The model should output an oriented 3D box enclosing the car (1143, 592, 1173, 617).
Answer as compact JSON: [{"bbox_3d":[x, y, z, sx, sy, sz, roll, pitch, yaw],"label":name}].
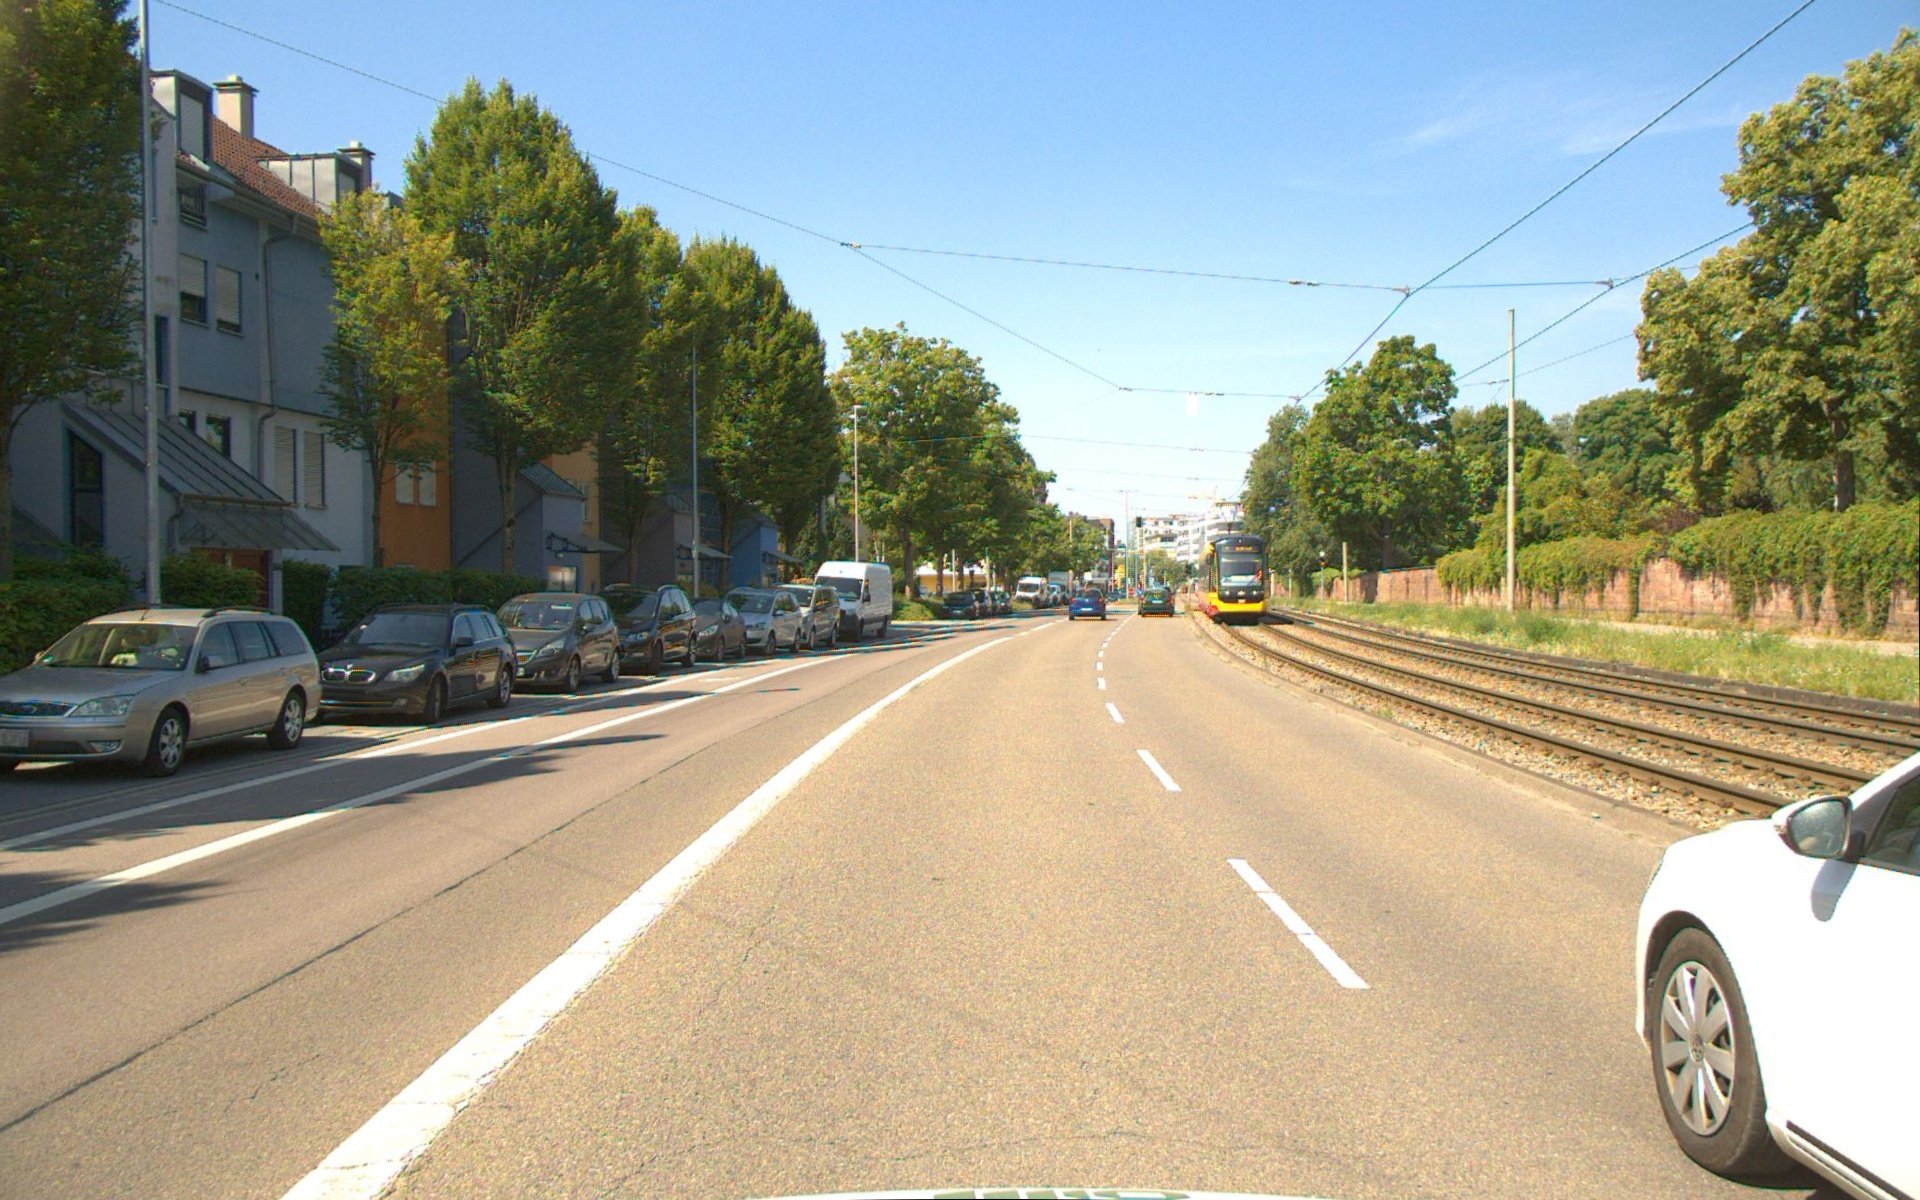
[{"bbox_3d":[12.044,0.249,100.529,1.762,1.486,4.003,-1,0,6],"label":"car"}]

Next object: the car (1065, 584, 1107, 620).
[{"bbox_3d":[5.868,0.078,76.750,1.762,1.533,4.003,0,1,6],"label":"car"}]

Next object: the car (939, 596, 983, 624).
[{"bbox_3d":[0.054,0.536,89.196,1.663,1.442,4.004,-1,0,10],"label":"car"}]

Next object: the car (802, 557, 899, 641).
[{"bbox_3d":[-3.820,-0.049,59.216,1.952,2.761,7.162,2,0,8],"label":"car"}]

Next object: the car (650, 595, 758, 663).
[{"bbox_3d":[-6.145,0.651,40.124,1.655,1.500,4.051,2,0,5],"label":"car"}]

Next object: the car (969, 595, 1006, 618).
[{"bbox_3d":[1.703,0.371,102.113,1.663,1.376,4.004,-1,0,10],"label":"car"}]

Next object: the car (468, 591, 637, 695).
[{"bbox_3d":[-7.074,0.690,29.129,1.681,1.653,4.314,1,0,3],"label":"car"}]

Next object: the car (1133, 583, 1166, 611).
[{"bbox_3d":[10.681,-0.193,93.195,1.762,1.485,4.003,0,1,6],"label":"car"}]

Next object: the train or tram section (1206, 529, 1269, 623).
[{"bbox_3d":[12.293,-1.015,74.037,2.458,3.812,13.322,-1,0,8],"label":"train or tram section"}]

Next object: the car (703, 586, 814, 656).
[{"bbox_3d":[-5.436,0.529,45.190,1.762,1.754,4.913,2,1,8],"label":"car"}]

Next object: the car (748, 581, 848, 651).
[{"bbox_3d":[-4.908,0.460,50.878,1.879,1.982,5.358,2,0,7],"label":"car"}]

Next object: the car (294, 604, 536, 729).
[{"bbox_3d":[-7.464,0.838,23.181,1.687,1.500,4.716,1,0,2],"label":"car"}]

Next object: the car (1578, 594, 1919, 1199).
[{"bbox_3d":[2.799,0.739,2.959,1.657,1.476,4.458,0,0,-1],"label":"car"}]

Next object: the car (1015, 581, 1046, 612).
[{"bbox_3d":[5.846,-0.308,136.139,1.840,2.458,5.121,-1,0,10],"label":"car"}]

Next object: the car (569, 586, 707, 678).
[{"bbox_3d":[-6.631,0.603,34.586,1.732,1.753,4.871,1,0,2],"label":"car"}]

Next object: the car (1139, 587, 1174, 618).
[{"bbox_3d":[10.212,0.135,85.993,1.762,1.533,4.003,0,1,6],"label":"car"}]

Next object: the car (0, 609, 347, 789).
[{"bbox_3d":[-7.984,0.864,16.703,1.744,1.509,4.857,1,0,0],"label":"car"}]
